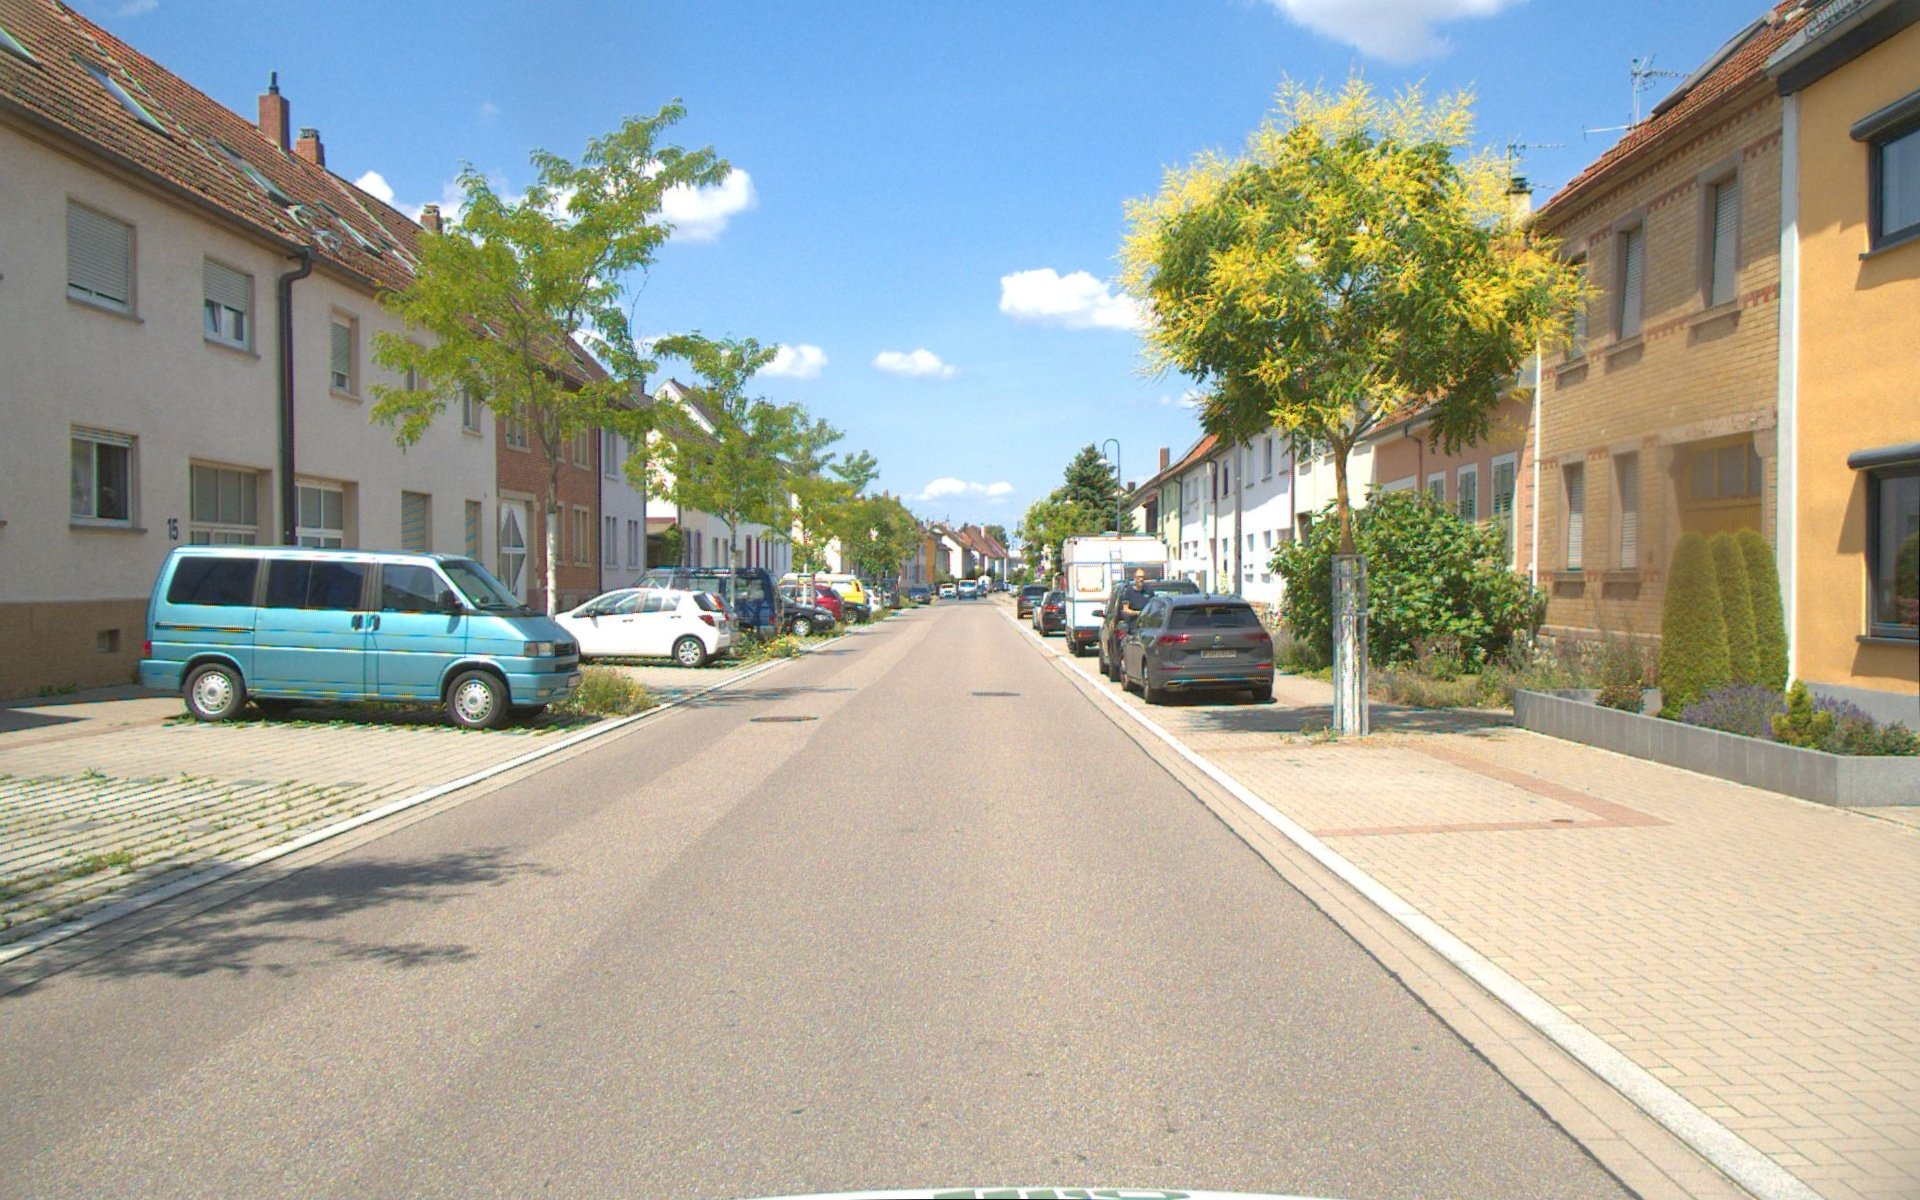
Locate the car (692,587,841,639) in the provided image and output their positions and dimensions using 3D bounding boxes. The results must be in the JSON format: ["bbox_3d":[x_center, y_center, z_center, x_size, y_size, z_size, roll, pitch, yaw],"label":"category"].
[{"bbox_3d":[-6.062,0.410,52.173,4.431,1.450,1.796,2,0,0],"label":"car"}]

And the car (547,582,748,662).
[{"bbox_3d":[-6.573,0.452,35.068,3.835,1.514,1.773,2,0,2],"label":"car"}]

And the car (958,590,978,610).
[{"bbox_3d":[0.801,0.002,169.239,1.981,1.984,4.897,1,-1,0],"label":"car"}]

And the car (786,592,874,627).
[{"bbox_3d":[-6.129,0.458,77.725,3.995,1.493,1.750,2,0,-8],"label":"car"}]

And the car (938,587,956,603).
[{"bbox_3d":[-1.480,-0.528,189.337,1.811,1.688,4.001,3,0,3],"label":"car"}]

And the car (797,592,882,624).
[{"bbox_3d":[-6.220,0.408,85.742,4.206,1.493,1.774,2,-1,2],"label":"car"}]

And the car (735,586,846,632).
[{"bbox_3d":[-6.657,0.357,65.286,4.166,1.639,1.842,2,0,0],"label":"car"}]

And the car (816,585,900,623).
[{"bbox_3d":[-5.856,0.240,95.369,4.604,1.957,1.938,2,-1,0],"label":"car"}]

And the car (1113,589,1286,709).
[{"bbox_3d":[3.297,0.632,23.496,1.731,1.514,4.295,1,0,-1],"label":"car"}]

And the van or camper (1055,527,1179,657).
[{"bbox_3d":[3.645,-0.195,39.554,2.422,2.859,5.790,0,0,0],"label":"van or camper"}]

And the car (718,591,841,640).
[{"bbox_3d":[-6.108,0.516,56.162,3.972,1.503,1.775,2,0,-2],"label":"car"}]

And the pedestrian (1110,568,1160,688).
[{"bbox_3d":[2.786,0.438,26.374,0.701,1.885,0.578,1,0,1],"label":"pedestrian"}]

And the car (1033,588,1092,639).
[{"bbox_3d":[3.336,0.427,54.293,1.730,1.556,4.007,1,0,1],"label":"car"}]

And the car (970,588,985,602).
[{"bbox_3d":[2.040,-0.583,195.587,1.726,1.549,4.048,-1,0,0],"label":"car"}]

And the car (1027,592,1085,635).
[{"bbox_3d":[3.544,0.488,61.721,1.795,1.491,4.518,1,0,-1],"label":"car"}]

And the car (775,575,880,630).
[{"bbox_3d":[-5.833,0.106,73.221,4.416,2.215,1.925,2,0,0],"label":"car"}]

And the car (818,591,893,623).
[{"bbox_3d":[-5.819,0.374,92.620,4.100,1.596,1.773,2,-1,-3],"label":"car"}]

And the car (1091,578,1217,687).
[{"bbox_3d":[3.313,0.533,28.993,1.730,1.734,4.325,1,0,1],"label":"car"}]

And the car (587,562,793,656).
[{"bbox_3d":[-6.438,0.208,39.745,4.517,2.031,1.953,2,0,2],"label":"car"}]

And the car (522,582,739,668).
[{"bbox_3d":[-6.434,0.473,32.603,3.835,1.514,1.773,2,0,2],"label":"car"}]

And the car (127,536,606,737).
[{"bbox_3d":[-6.540,0.397,18.627,4.581,1.940,2.000,2,-1,1],"label":"car"}]

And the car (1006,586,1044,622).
[{"bbox_3d":[3.226,0.185,81.613,1.825,1.664,4.448,-1,1,3],"label":"car"}]

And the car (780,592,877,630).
[{"bbox_3d":[-5.569,0.456,70.550,3.927,1.485,1.755,2,0,0],"label":"car"}]

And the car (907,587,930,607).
[{"bbox_3d":[-3.515,-0.282,140.416,1.780,1.458,4.138,5,1,-2],"label":"car"}]

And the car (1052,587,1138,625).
[{"bbox_3d":[7.460,0.326,91.533,4.525,1.926,2.020,2,-1,-1],"label":"car"}]
